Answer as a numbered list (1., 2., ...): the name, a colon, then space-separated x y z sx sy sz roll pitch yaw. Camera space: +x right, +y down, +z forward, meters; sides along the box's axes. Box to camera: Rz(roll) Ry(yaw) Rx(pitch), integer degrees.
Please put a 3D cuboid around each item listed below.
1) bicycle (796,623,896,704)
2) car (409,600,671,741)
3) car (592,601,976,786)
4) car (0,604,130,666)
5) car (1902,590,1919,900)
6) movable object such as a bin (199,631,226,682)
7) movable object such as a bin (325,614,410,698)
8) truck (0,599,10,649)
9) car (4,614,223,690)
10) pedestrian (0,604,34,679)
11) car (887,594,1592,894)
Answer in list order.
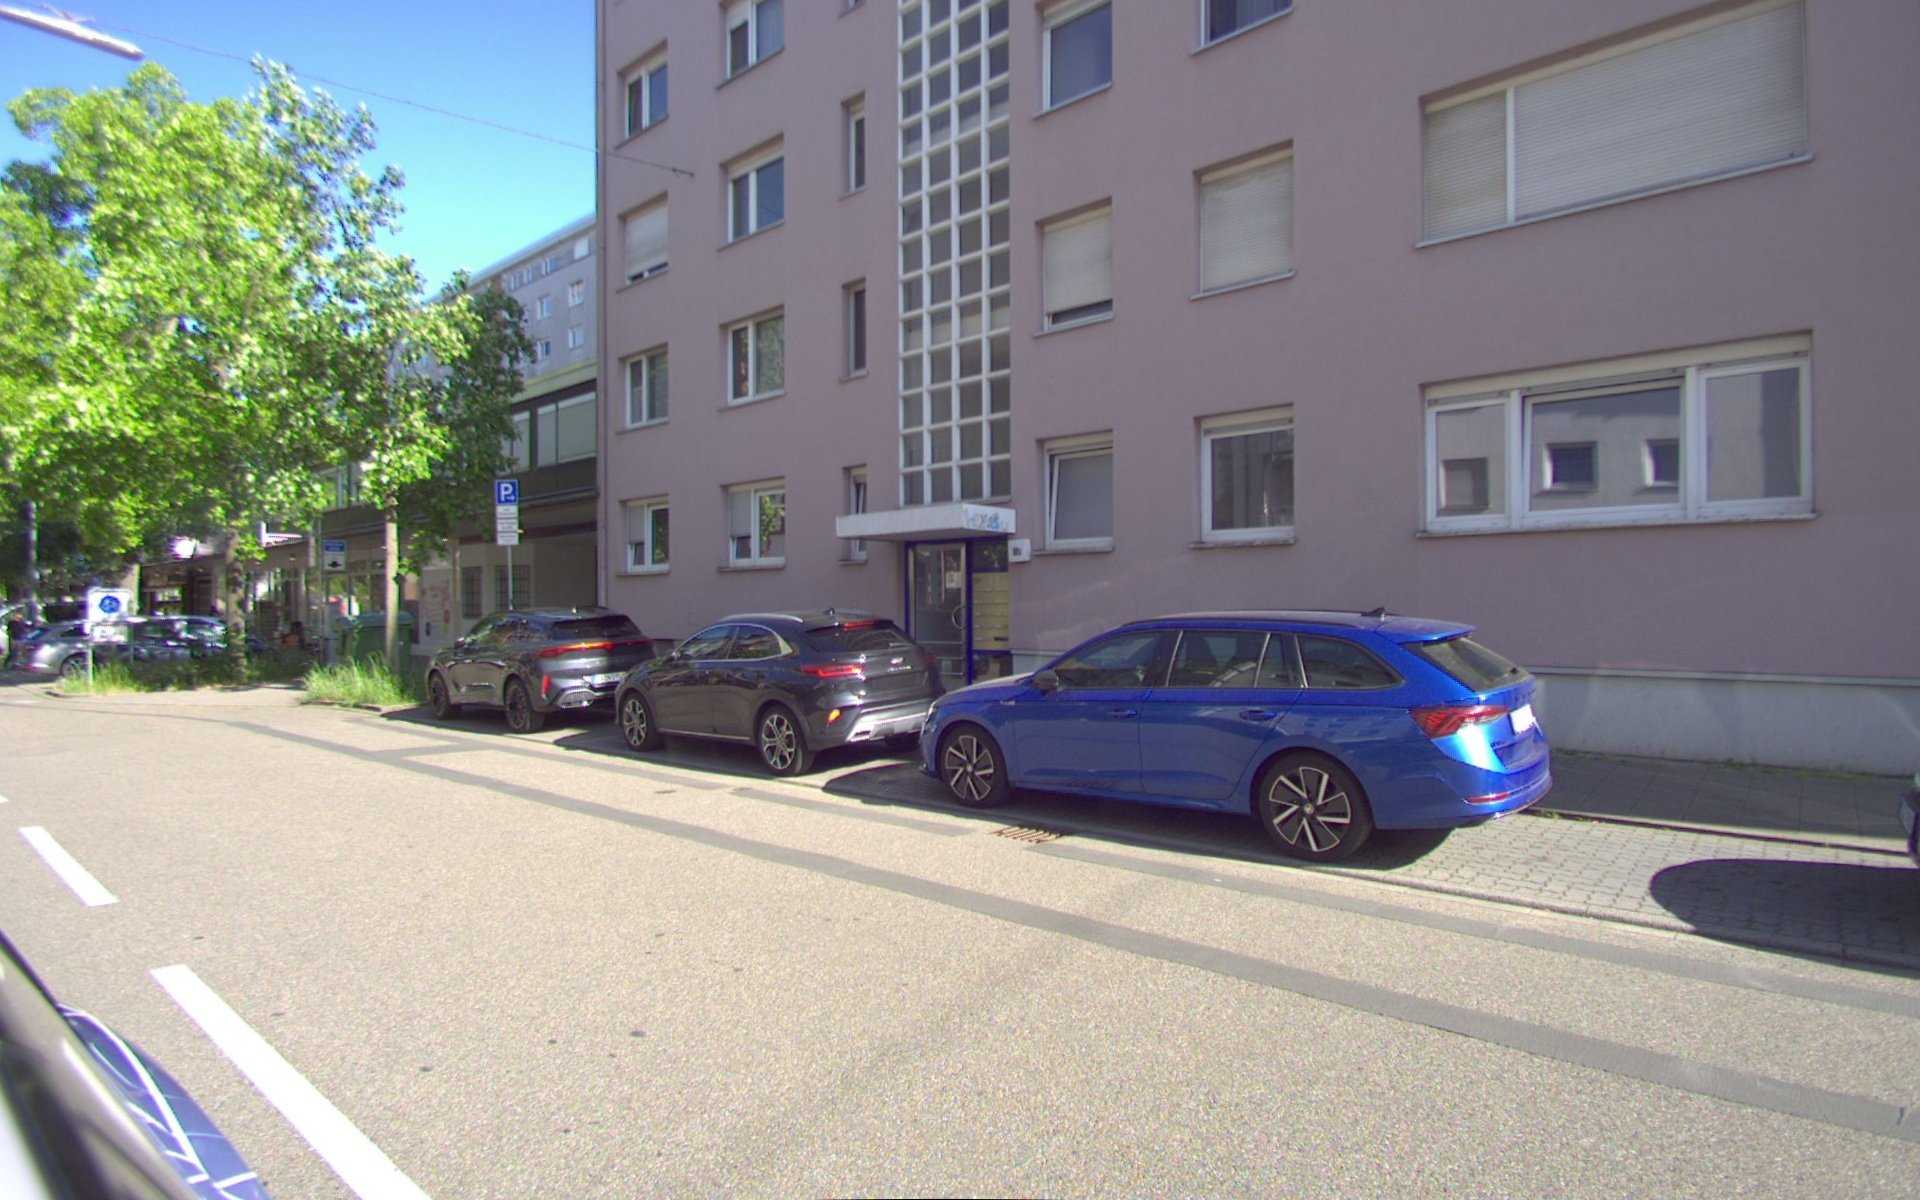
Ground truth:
1. bicycle: -1.676 0.892 14.702 1.649 1.084 0.386 -1 3 42
2. car: -6.040 0.891 14.321 4.141 1.604 1.798 -1 2 43
3. car: -2.019 0.838 10.775 4.245 1.519 1.798 -1 1 43
4. car: -31.271 1.169 34.816 1.999 2.047 3.945 -1 -1 41
5. car: 6.359 0.675 3.220 4.812 1.476 1.700 -1 1 41
6. movable object such as a bin: -18.475 1.381 25.013 0.409 1.234 0.482 -1 -1 41
7. movable object such as a bin: -11.563 1.063 19.763 1.230 1.557 1.019 0 -1 -44
8. truck: -52.296 1.249 51.624 1.993 2.615 5.266 -1 -1 31
9. car: -20.959 1.226 25.159 1.999 1.687 3.945 -1 -1 41
10. pedestrian: -25.950 1.139 27.751 0.556 2.029 0.756 0 -1 -19
11. car: 1.720 0.772 7.317 4.610 1.476 1.699 -1 1 41
